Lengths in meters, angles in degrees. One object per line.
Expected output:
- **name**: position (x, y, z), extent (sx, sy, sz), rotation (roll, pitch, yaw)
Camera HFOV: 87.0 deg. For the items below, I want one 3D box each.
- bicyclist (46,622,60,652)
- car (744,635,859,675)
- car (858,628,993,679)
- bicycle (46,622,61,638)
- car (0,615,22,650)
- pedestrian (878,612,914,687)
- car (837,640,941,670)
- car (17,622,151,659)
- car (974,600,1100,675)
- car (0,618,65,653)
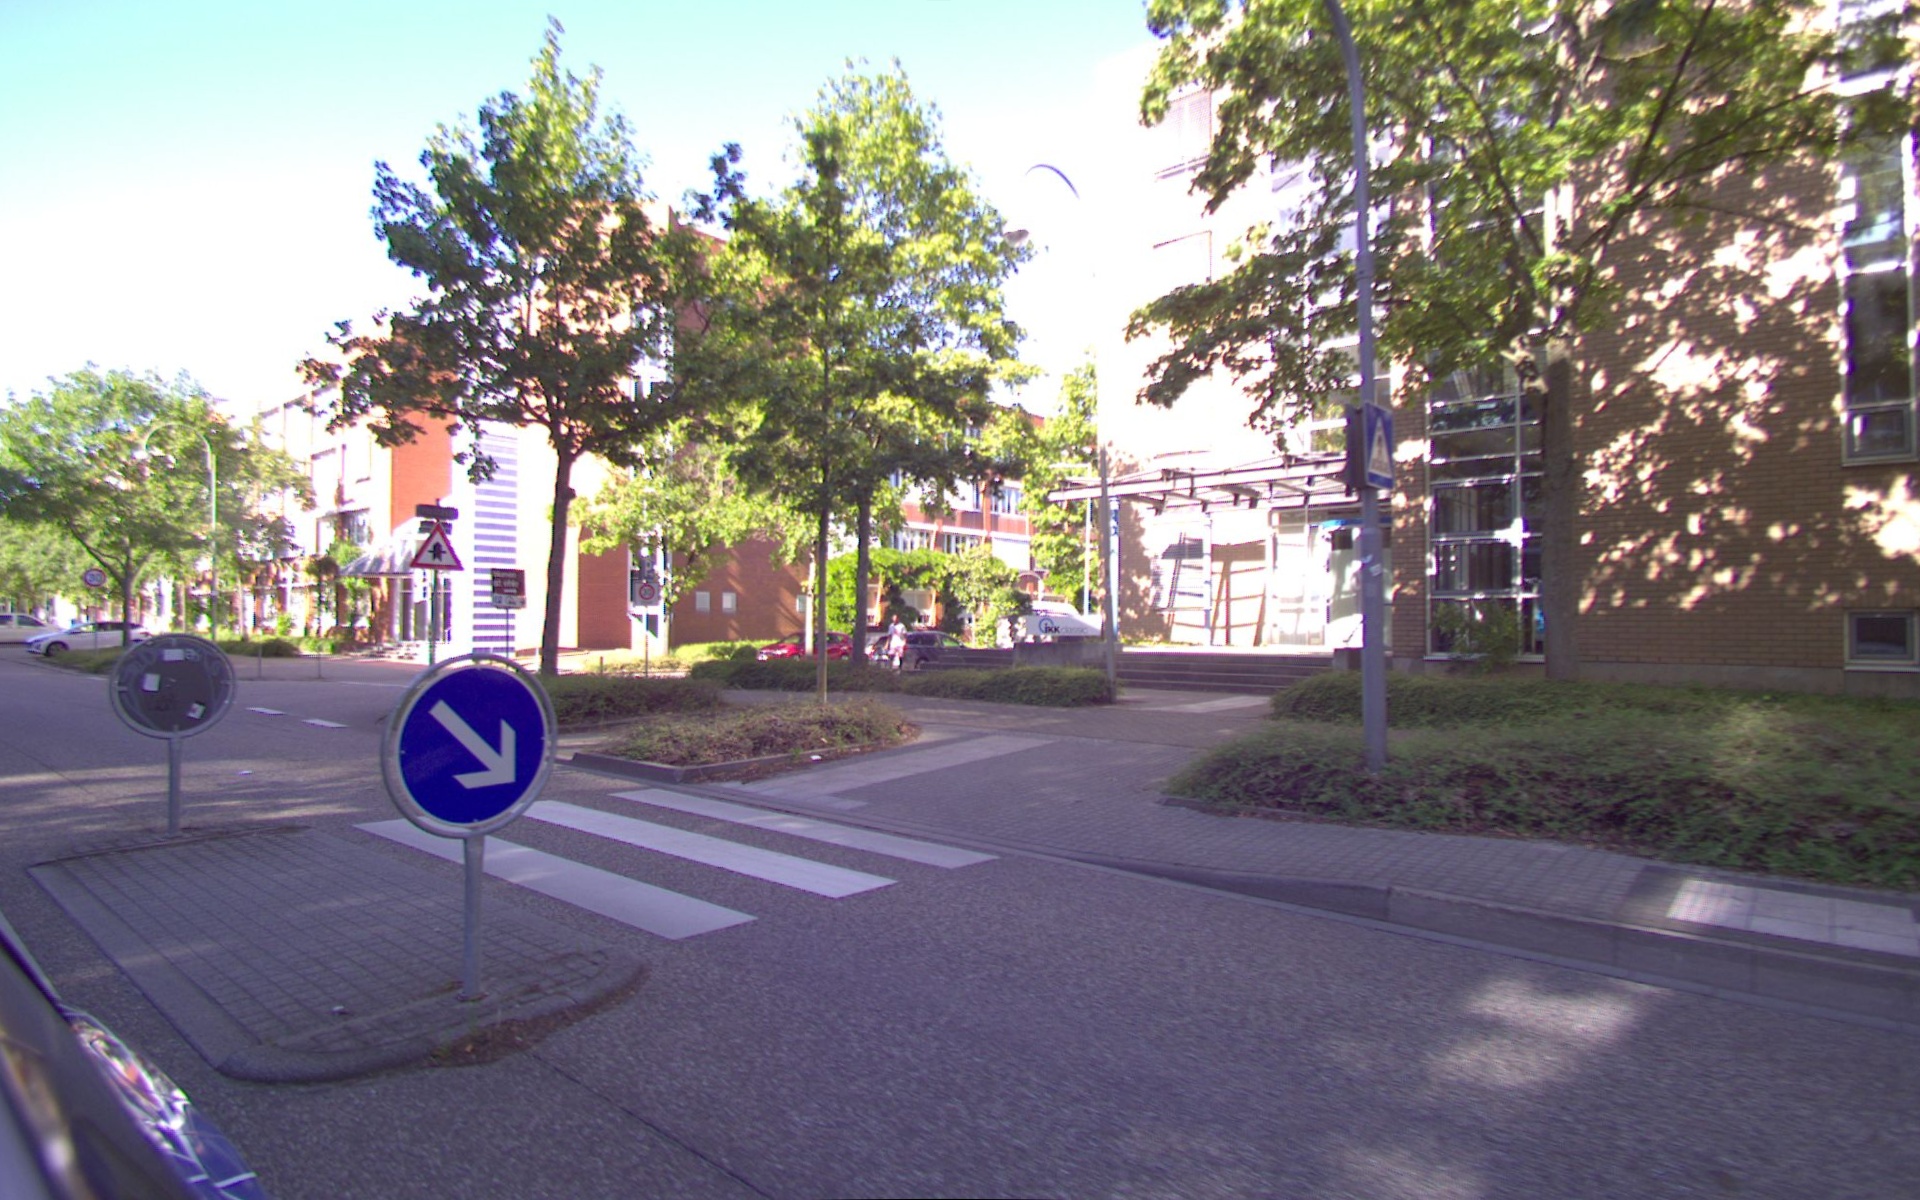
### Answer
- **bicyclist**: position (-62.360, 2.543, 69.580), extent (0.609, 2.029, 0.625), rotation (-1, -1, 44)
- **car**: position (-6.266, 2.138, 40.413), extent (1.847, 1.463, 4.380), rotation (-1, -2, 41)
- **car**: position (-1.027, 1.692, 32.953), extent (1.845, 1.519, 4.663), rotation (-1, -2, 38)
- **bicycle**: position (-62.421, 2.055, 69.655), extent (2.156, 1.107, 0.628), rotation (0, 0, 45)
- **car**: position (-61.282, 2.005, 62.592), extent (1.999, 2.185, 4.574), rotation (-1, -3, 41)
- **pedestrian**: position (-1.656, 1.275, 26.262), extent (0.672, 1.932, 0.615), rotation (-1, -3, 42)
- **car**: position (-3.058, 2.371, 44.352), extent (1.847, 1.196, 4.659), rotation (-1, -2, 41)
- **car**: position (-35.967, 1.630, 41.636), extent (1.617, 1.430, 3.953), rotation (-1, -1, 39)
- **car**: position (2.962, 1.360, 37.790), extent (1.922, 2.588, 5.406), rotation (-1, -2, 40)
- **car**: position (-53.149, 1.960, 55.969), extent (1.999, 1.901, 5.248), rotation (-1, -3, 41)
